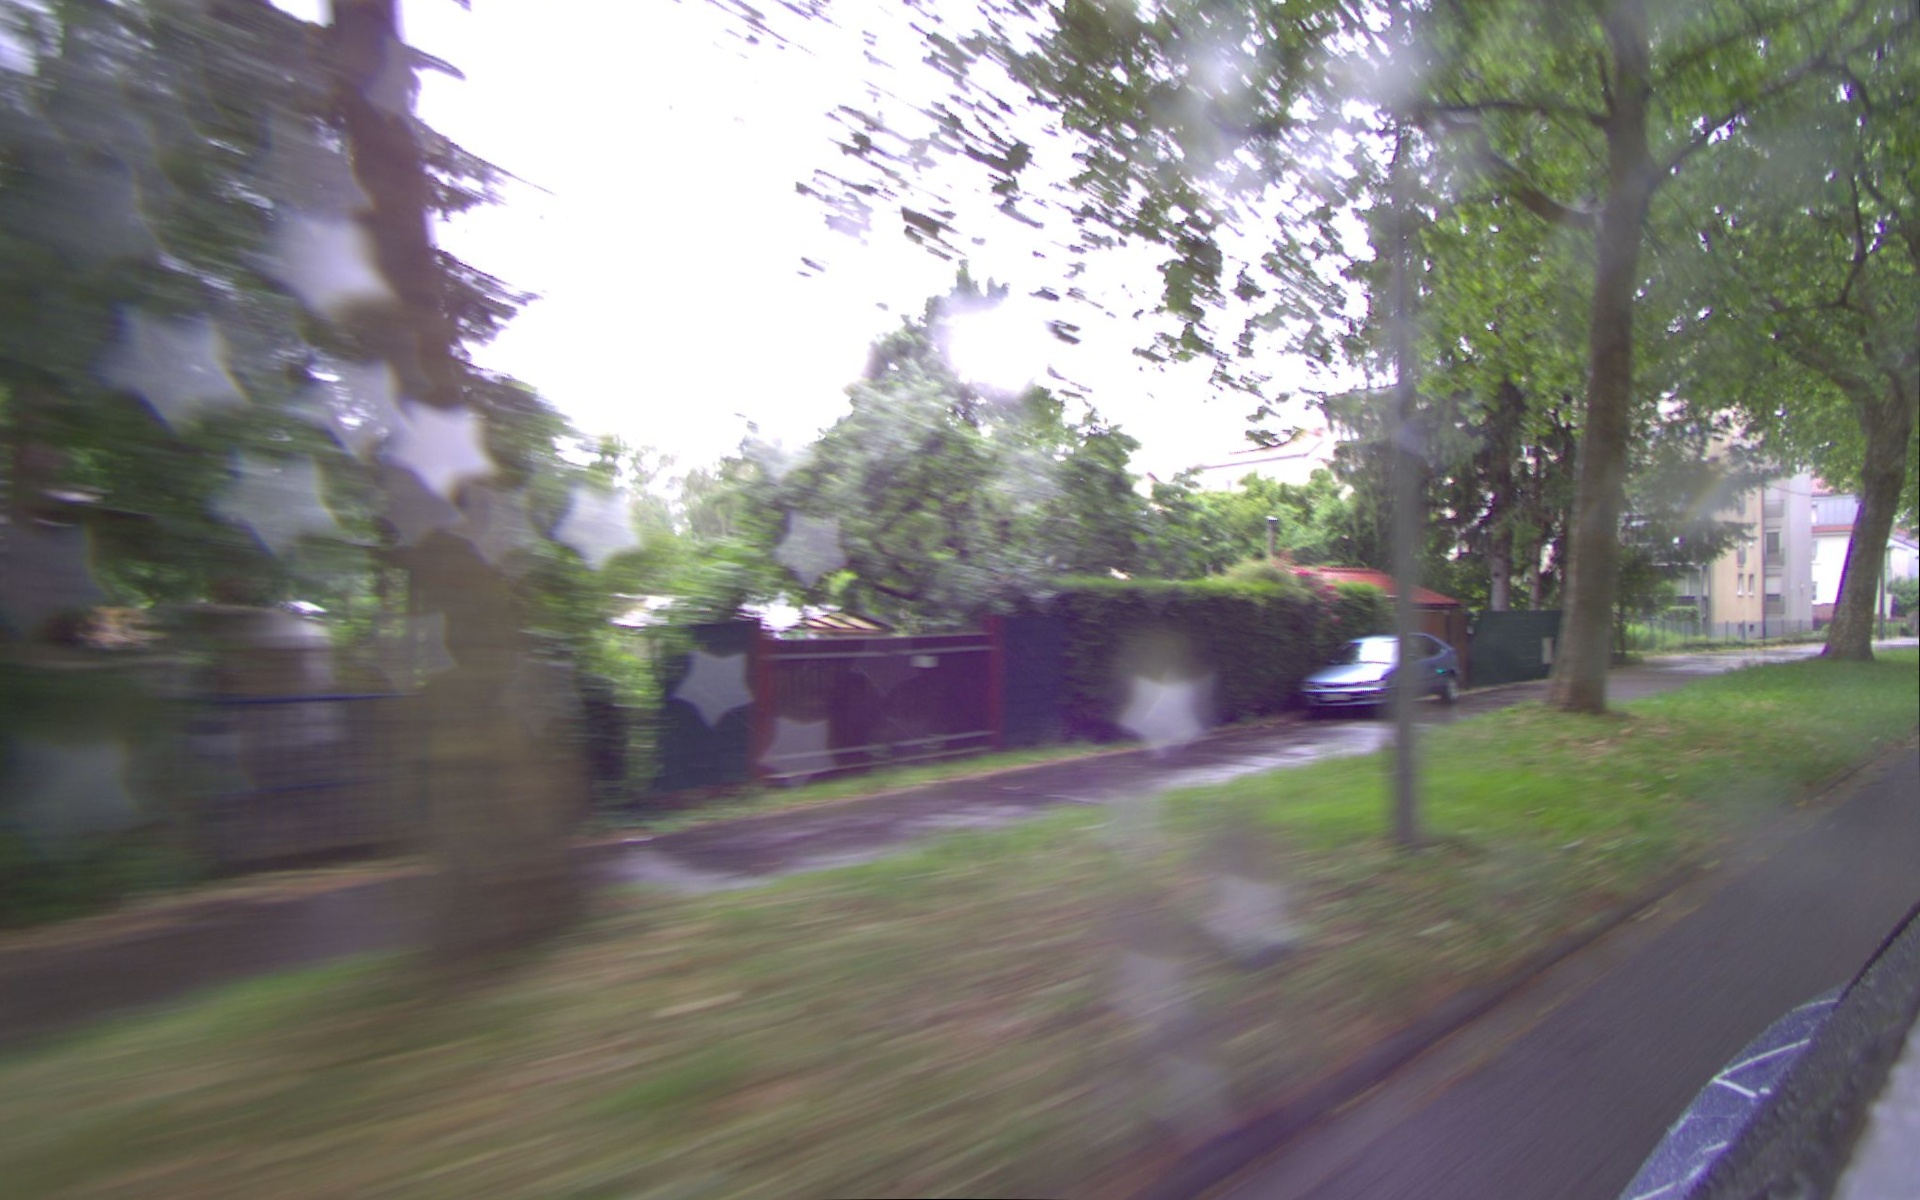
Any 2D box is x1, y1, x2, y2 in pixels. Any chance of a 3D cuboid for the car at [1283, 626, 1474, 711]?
[{"bbox_3d":[7.911,1.239,18.965,3.933,1.342,1.796,0,-4,-43],"label":"car"}]
